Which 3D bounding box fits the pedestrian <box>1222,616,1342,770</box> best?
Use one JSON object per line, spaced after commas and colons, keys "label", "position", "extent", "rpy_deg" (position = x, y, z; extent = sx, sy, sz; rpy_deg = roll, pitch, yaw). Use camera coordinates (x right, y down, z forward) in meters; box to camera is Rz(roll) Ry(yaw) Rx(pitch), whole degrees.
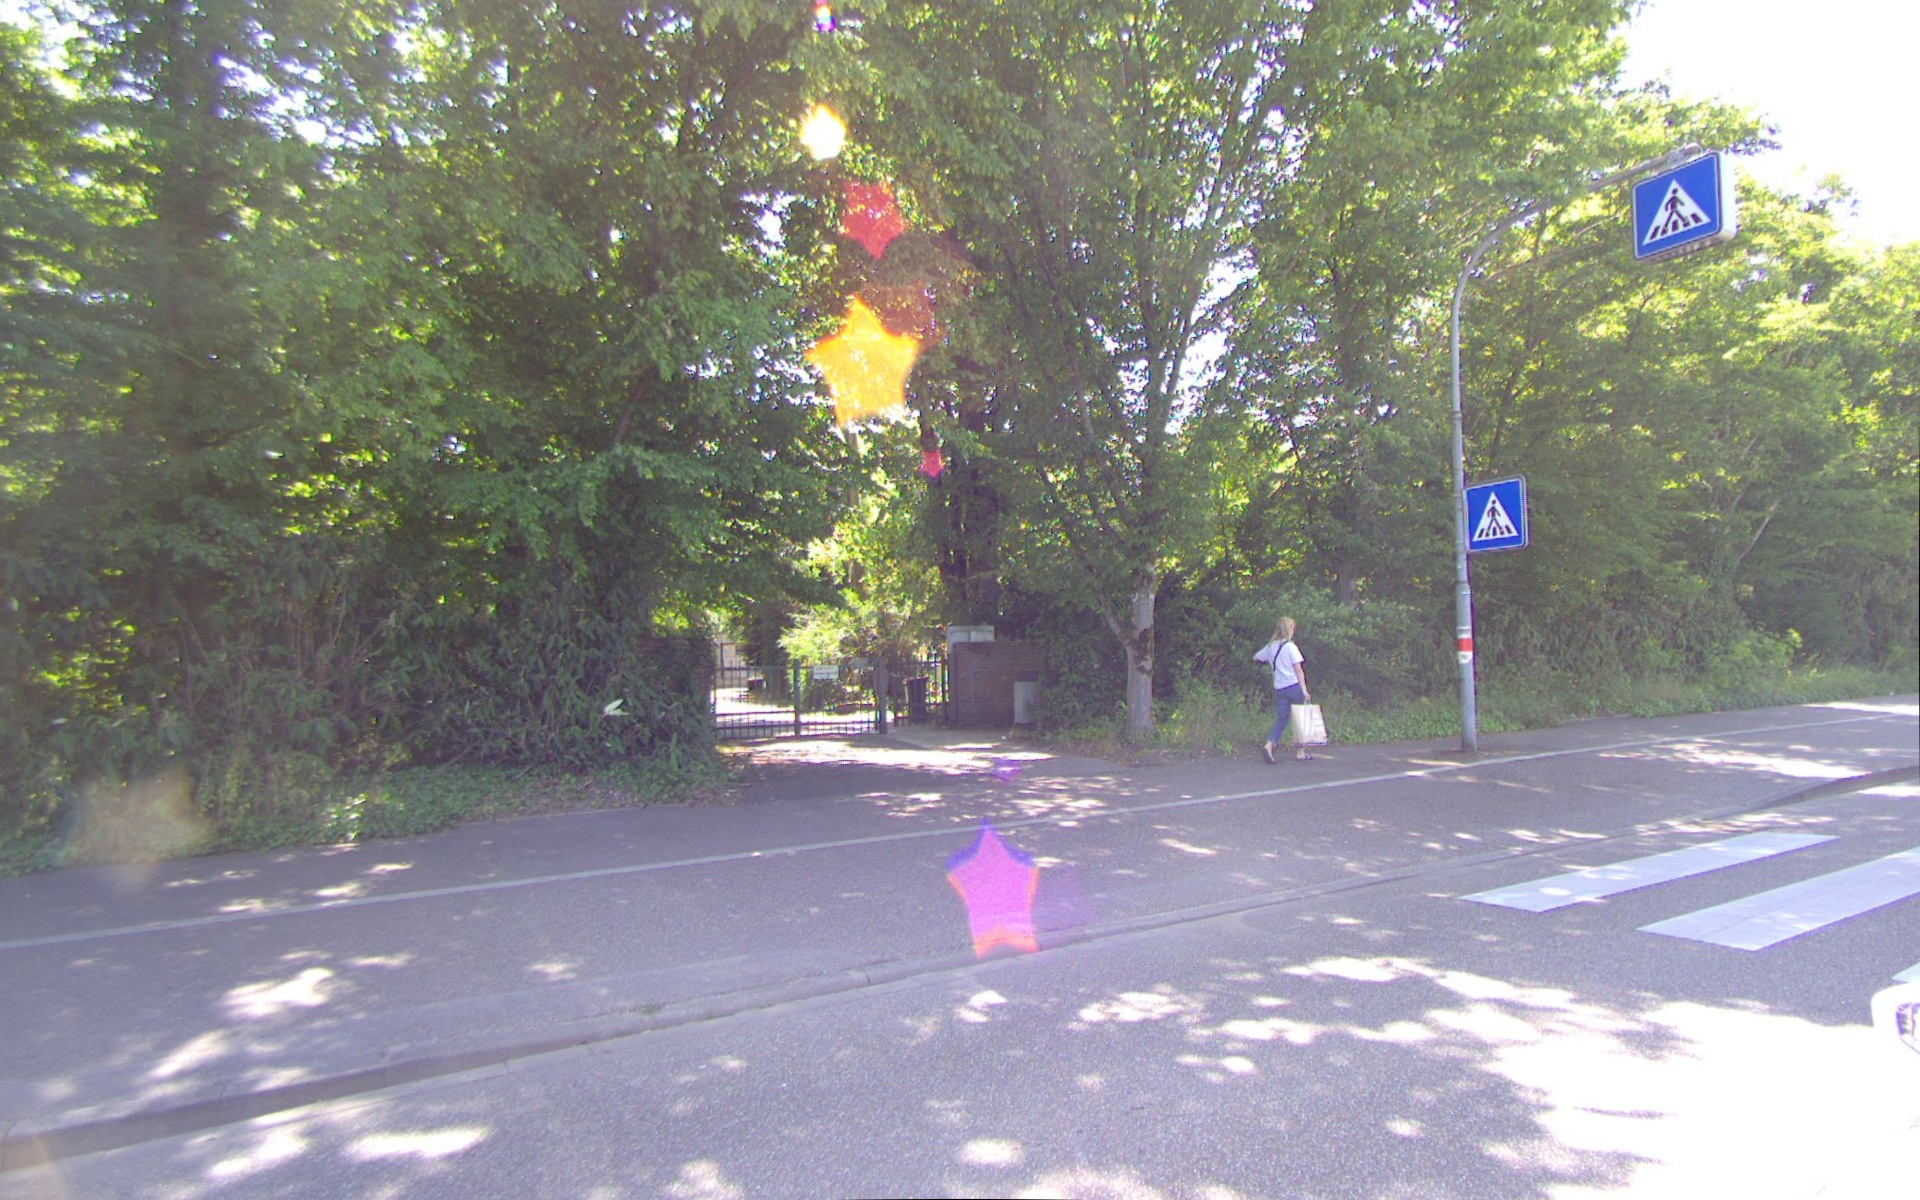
{"label": "pedestrian", "position": [3.637, 1.010, 11.373], "extent": [0.875, 1.634, 0.928], "rpy_deg": [0, -1, -30]}

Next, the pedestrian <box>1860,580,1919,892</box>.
{"label": "pedestrian", "position": [6.095, 0.754, 5.706], "extent": [1.012, 1.774, 1.149], "rpy_deg": [0, -4, -33]}
